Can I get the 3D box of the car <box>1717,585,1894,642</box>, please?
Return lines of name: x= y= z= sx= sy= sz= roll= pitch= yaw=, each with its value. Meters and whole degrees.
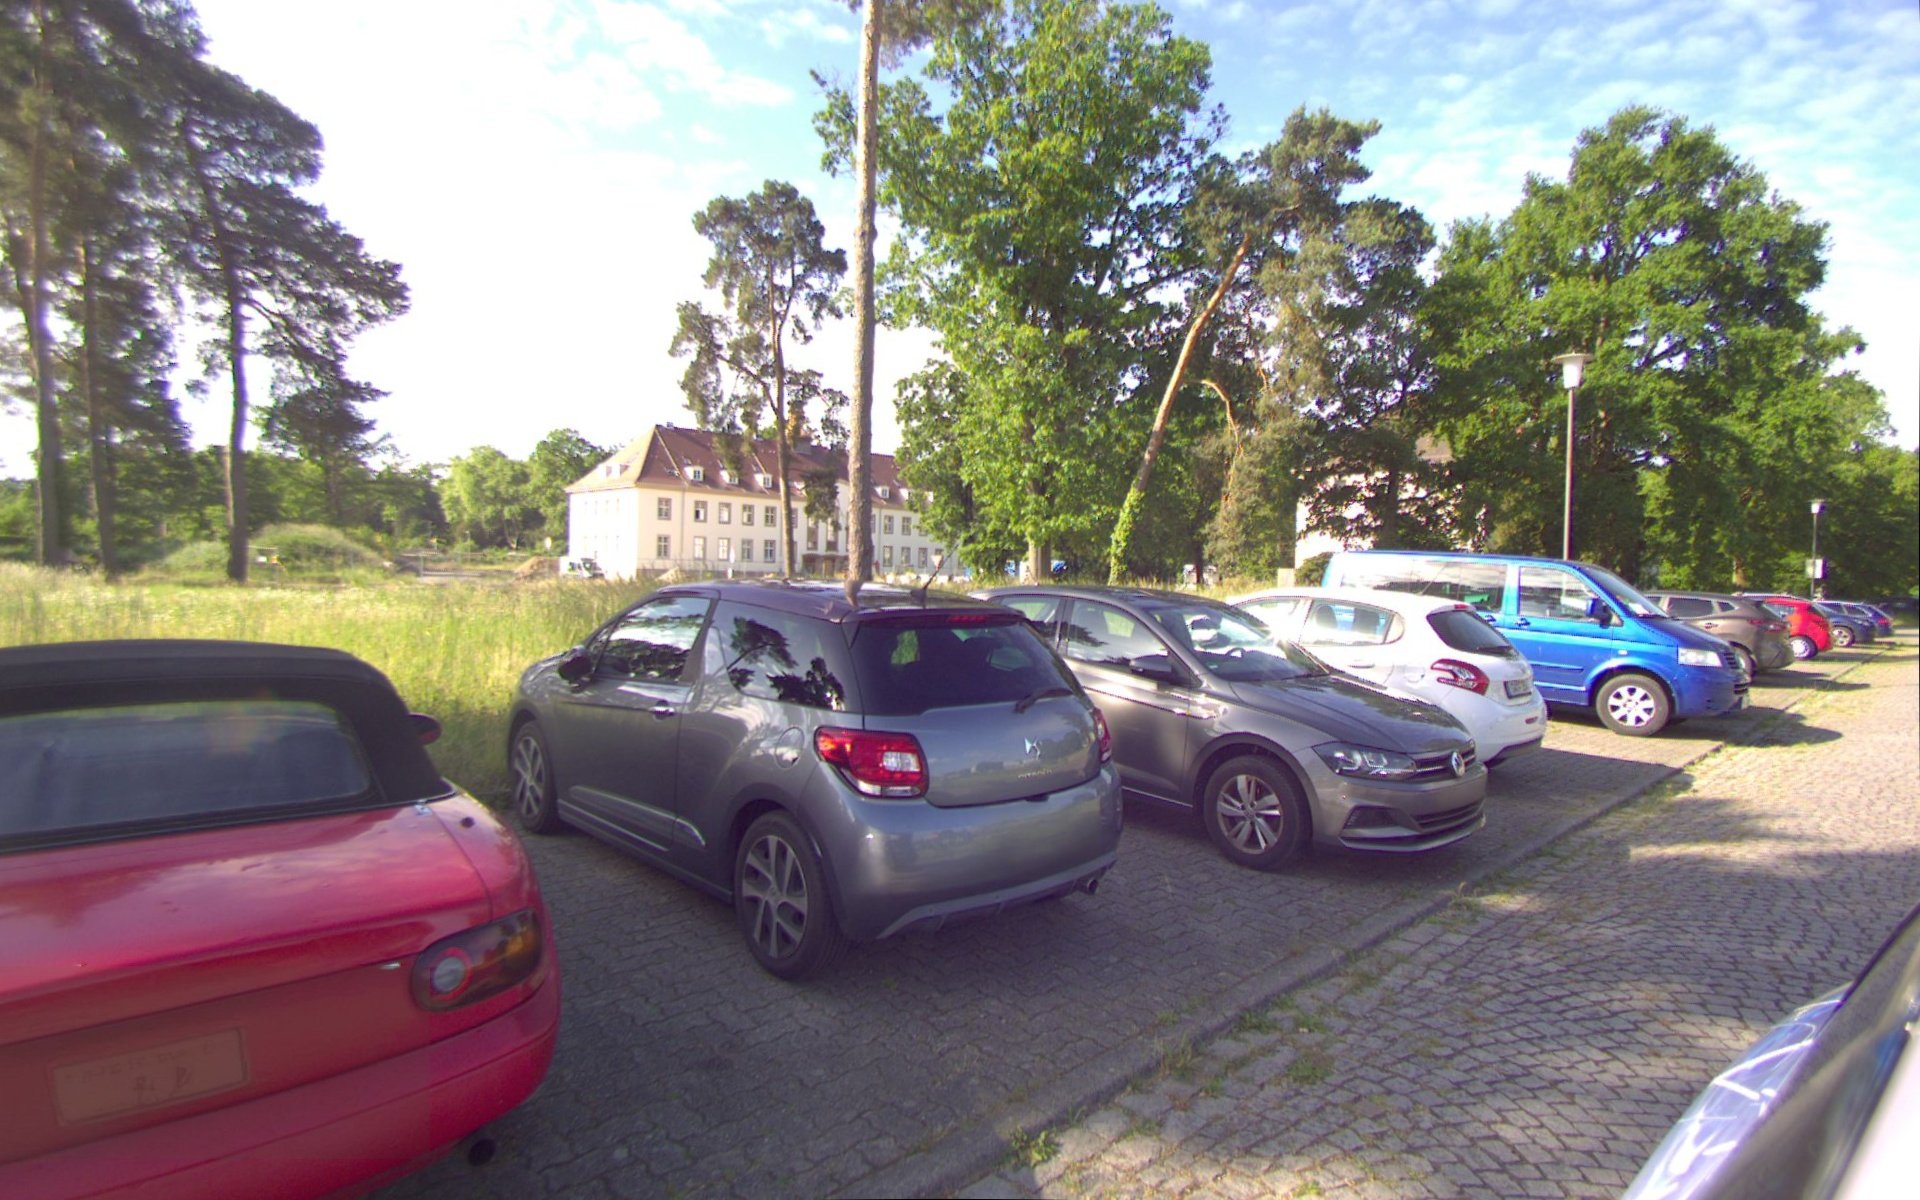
car: x=27.548 y=0.388 z=33.069 sx=1.624 sy=1.618 sz=4.266 roll=0 pitch=2 yaw=-44

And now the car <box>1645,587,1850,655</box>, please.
car: x=20.216 y=0.478 z=26.095 sx=1.515 sy=1.514 sz=3.990 roll=0 pitch=2 yaw=-44

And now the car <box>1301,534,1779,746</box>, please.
car: x=7.020 y=0.297 z=12.704 sx=1.967 sy=2.038 sz=4.761 roll=0 pitch=4 yaw=-43

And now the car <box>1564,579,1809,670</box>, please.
car: x=14.957 y=0.429 z=20.975 sx=1.675 sy=1.557 sz=3.830 roll=0 pitch=3 yaw=-43

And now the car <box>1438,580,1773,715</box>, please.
car: x=9.025 y=0.557 z=14.342 sx=3.722 sy=1.484 sz=1.584 roll=5 pitch=3 yaw=44

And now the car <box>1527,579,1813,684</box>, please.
car: x=13.149 y=0.490 z=18.903 sx=4.110 sy=1.631 sz=1.757 roll=4 pitch=2 yaw=45

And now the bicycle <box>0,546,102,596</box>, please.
bicycle: x=-38.206 y=-1.265 z=42.584 sx=0.950 sy=2.038 sz=3.084 roll=2 pitch=4 yaw=42

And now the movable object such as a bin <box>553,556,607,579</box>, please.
movable object such as a bin: x=-36.333 y=-3.134 z=96.612 sx=5.705 sy=2.038 sz=2.095 roll=3 pitch=2 yaw=37

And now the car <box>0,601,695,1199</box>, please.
car: x=-2.348 y=0.698 z=3.083 sx=1.511 sy=1.258 sz=3.465 roll=0 pitch=2 yaw=-43

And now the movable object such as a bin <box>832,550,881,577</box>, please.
movable object such as a bin: x=-11.616 y=-4.129 z=113.856 sx=4.979 sy=2.937 sz=2.180 roll=0 pitch=2 yaw=-37

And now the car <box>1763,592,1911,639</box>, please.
car: x=31.149 y=0.511 z=36.023 sx=1.717 sy=1.484 sz=3.805 roll=0 pitch=2 yaw=-43

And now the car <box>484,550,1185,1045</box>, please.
car: x=-0.908 y=0.569 z=5.140 sx=1.639 sy=1.472 sz=3.668 roll=0 pitch=4 yaw=-44

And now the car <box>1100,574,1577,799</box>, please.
car: x=3.203 y=0.575 z=9.068 sx=1.607 sy=1.510 sz=3.649 roll=0 pitch=2 yaw=-43

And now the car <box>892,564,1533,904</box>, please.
car: x=1.418 y=0.583 z=6.743 sx=1.728 sy=1.468 sz=3.787 roll=0 pitch=3 yaw=-42
